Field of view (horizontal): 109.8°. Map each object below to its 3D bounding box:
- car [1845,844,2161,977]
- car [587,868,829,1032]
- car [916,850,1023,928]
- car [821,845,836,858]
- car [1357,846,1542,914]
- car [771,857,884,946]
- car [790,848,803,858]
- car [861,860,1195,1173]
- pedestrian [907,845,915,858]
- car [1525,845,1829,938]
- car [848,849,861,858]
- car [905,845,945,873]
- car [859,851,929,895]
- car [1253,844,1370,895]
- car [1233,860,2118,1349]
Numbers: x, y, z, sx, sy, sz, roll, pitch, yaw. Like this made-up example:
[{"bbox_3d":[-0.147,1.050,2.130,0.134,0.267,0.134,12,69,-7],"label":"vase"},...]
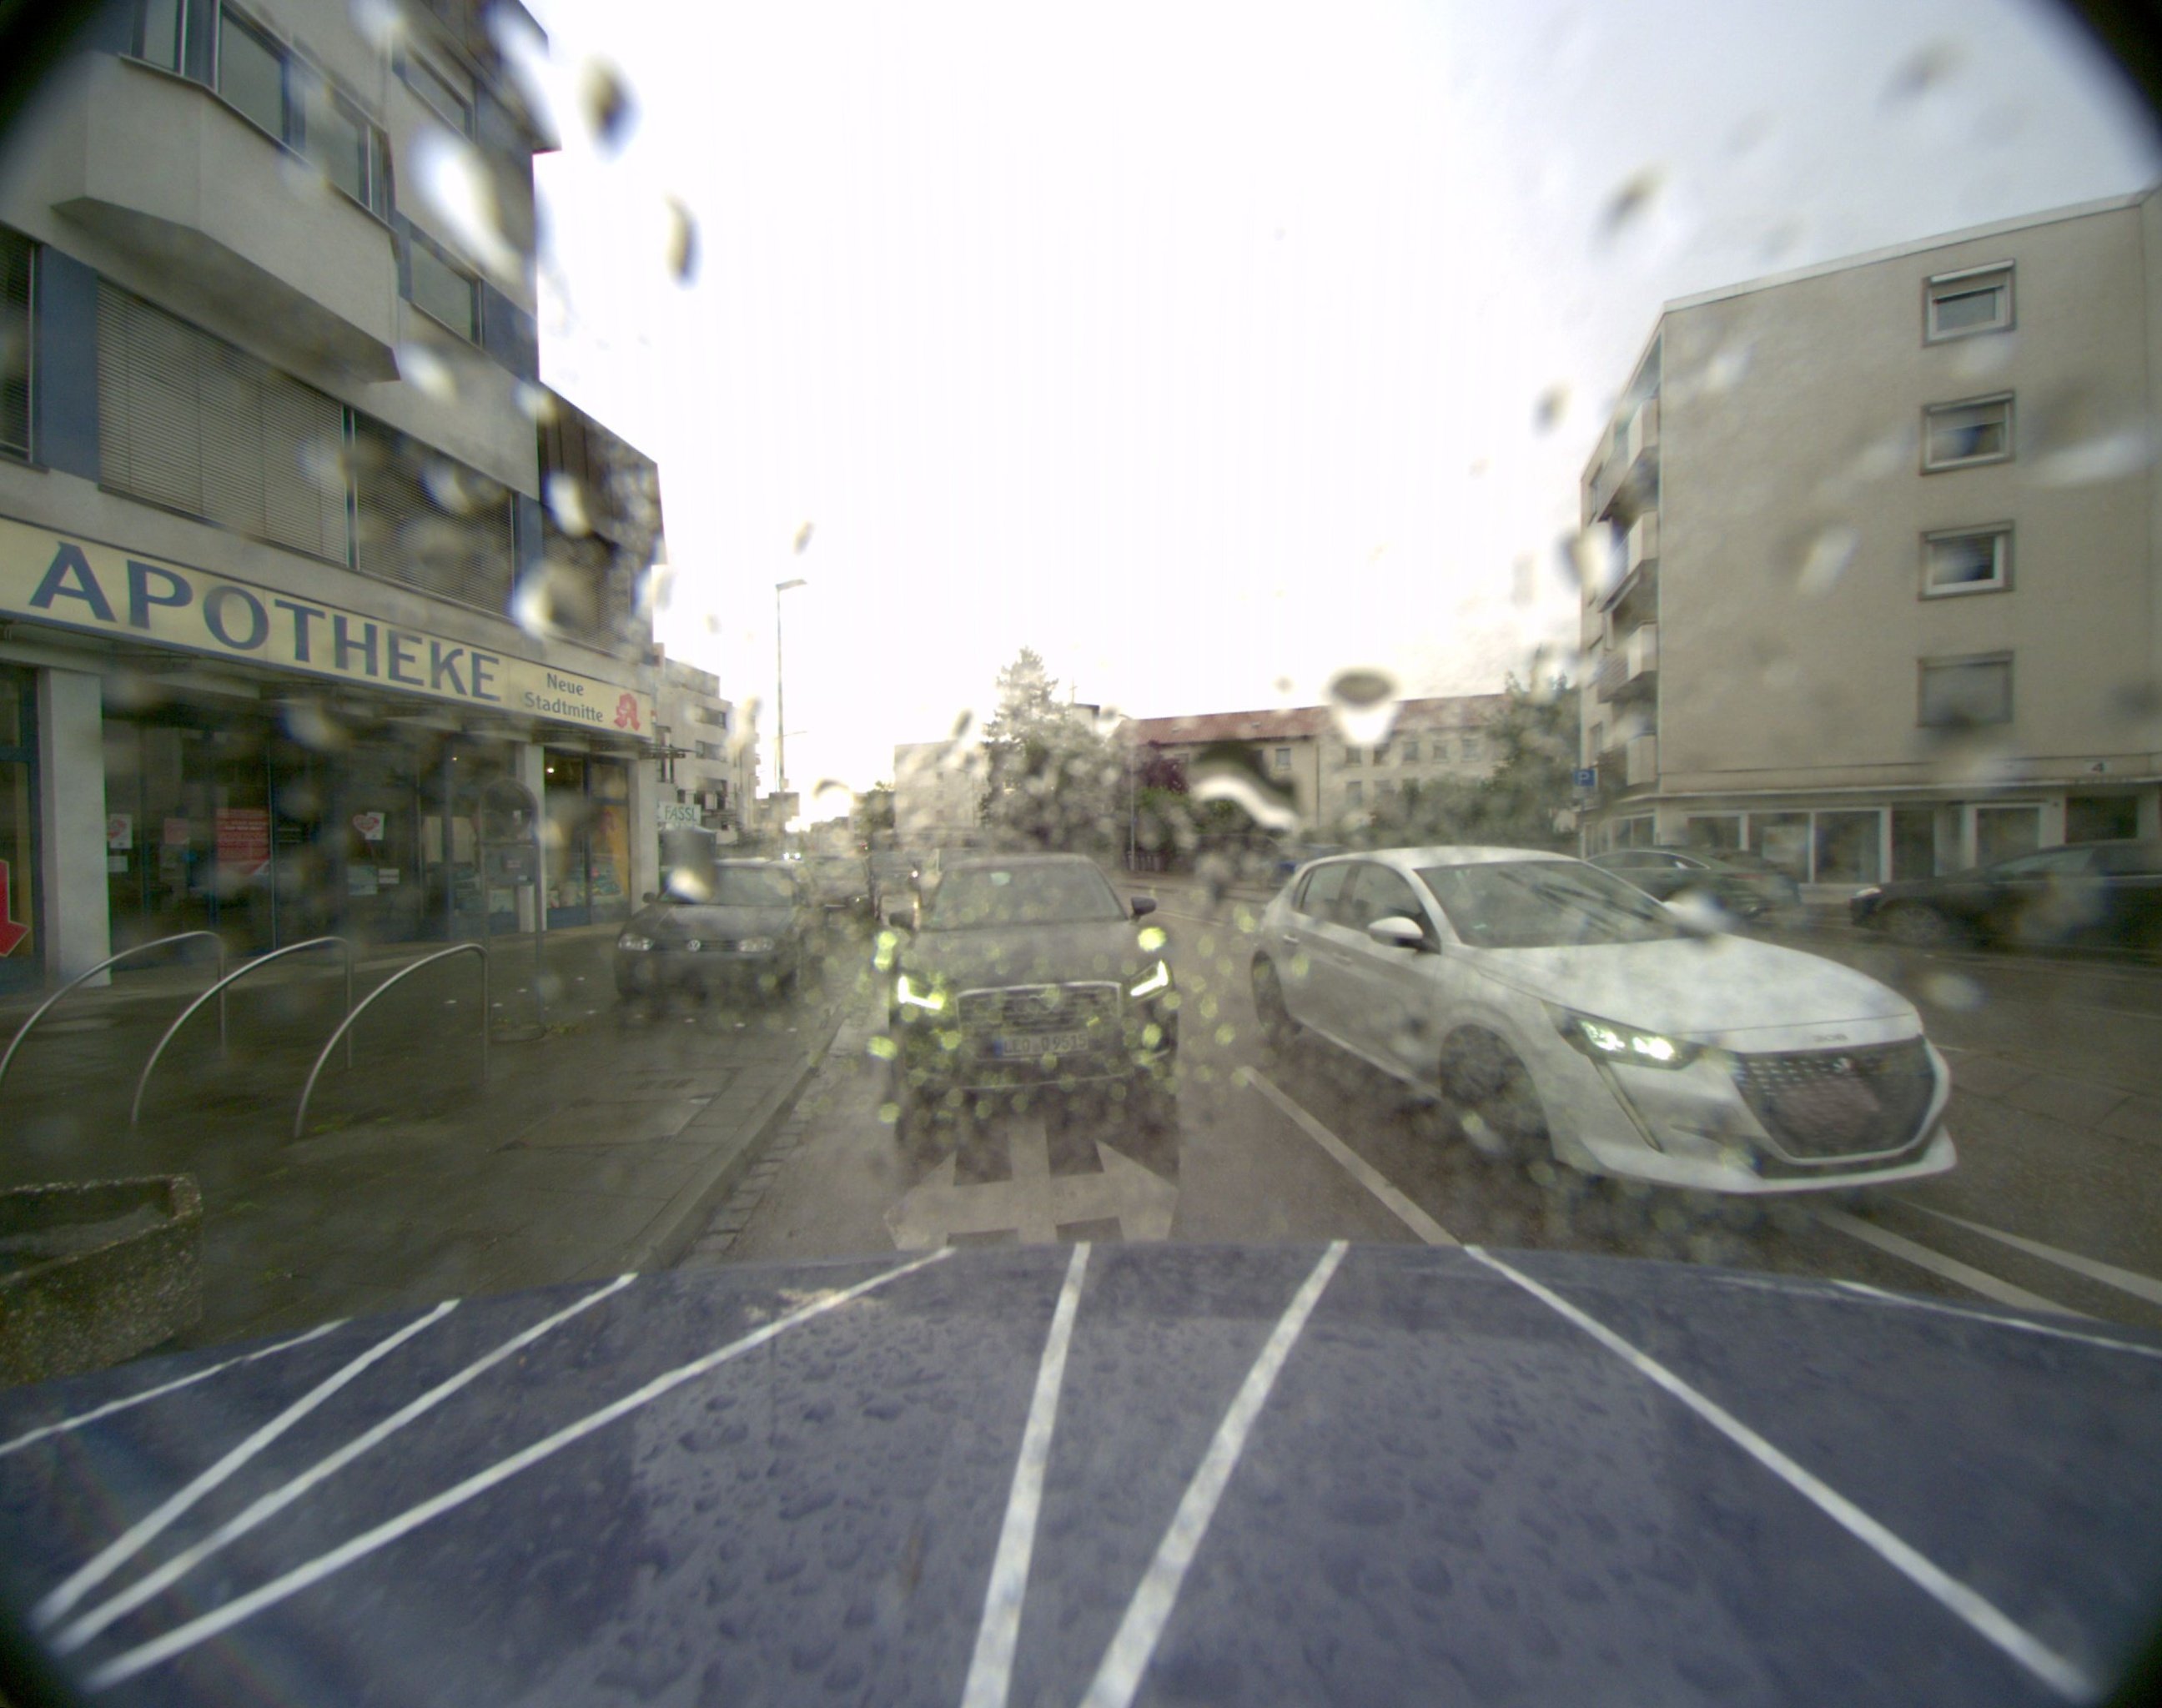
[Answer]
[{"bbox_3d":[12.917,0.633,9.625,1.839,1.451,4.180,-2,2,-21],"label":"car"},{"bbox_3d":[-4.007,0.910,8.805,1.656,1.364,3.726,1,0,-13],"label":"car"},{"bbox_3d":[-2.633,0.691,17.164,1.736,1.519,4.057,-1,0,-18],"label":"car"},{"bbox_3d":[-32.062,-0.334,96.525,1.746,1.631,3.993,-1,1,-18],"label":"car"},{"bbox_3d":[9.271,0.558,19.554,1.639,1.491,4.338,-1,1,-21],"label":"car"},{"bbox_3d":[-4.816,0.808,14.894,1.660,1.416,3.995,-1,1,-12],"label":"car"},{"bbox_3d":[-45.264,-0.176,120.870,1.747,1.631,3.992,-1,1,-21],"label":"car"},{"bbox_3d":[-0.536,0.861,6.037,1.735,1.436,4.042,-2,2,-8],"label":"car"},{"bbox_3d":[-21.704,-0.329,97.065,0.857,1.726,0.834,-1,2,-29],"label":"pedestrian"},{"bbox_3d":[11.131,0.589,14.613,1.839,1.426,4.265,-2,2,-21],"label":"car"},{"bbox_3d":[-39.741,-0.044,133.084,1.874,1.429,3.733,-1,1,-20],"label":"car"},{"bbox_3d":[-8.777,0.250,42.589,1.753,1.446,3.807,-1,2,-18],"label":"car"},{"bbox_3d":[-6.871,0.623,27.714,1.804,1.361,3.964,-1,2,-24],"label":"car"},{"bbox_3d":[7.423,0.448,24.828,1.636,1.497,3.873,-1,1,-20],"label":"car"},{"bbox_3d":[2.436,0.801,4.426,1.744,1.401,3.892,-3,1,-9],"label":"car"}]
